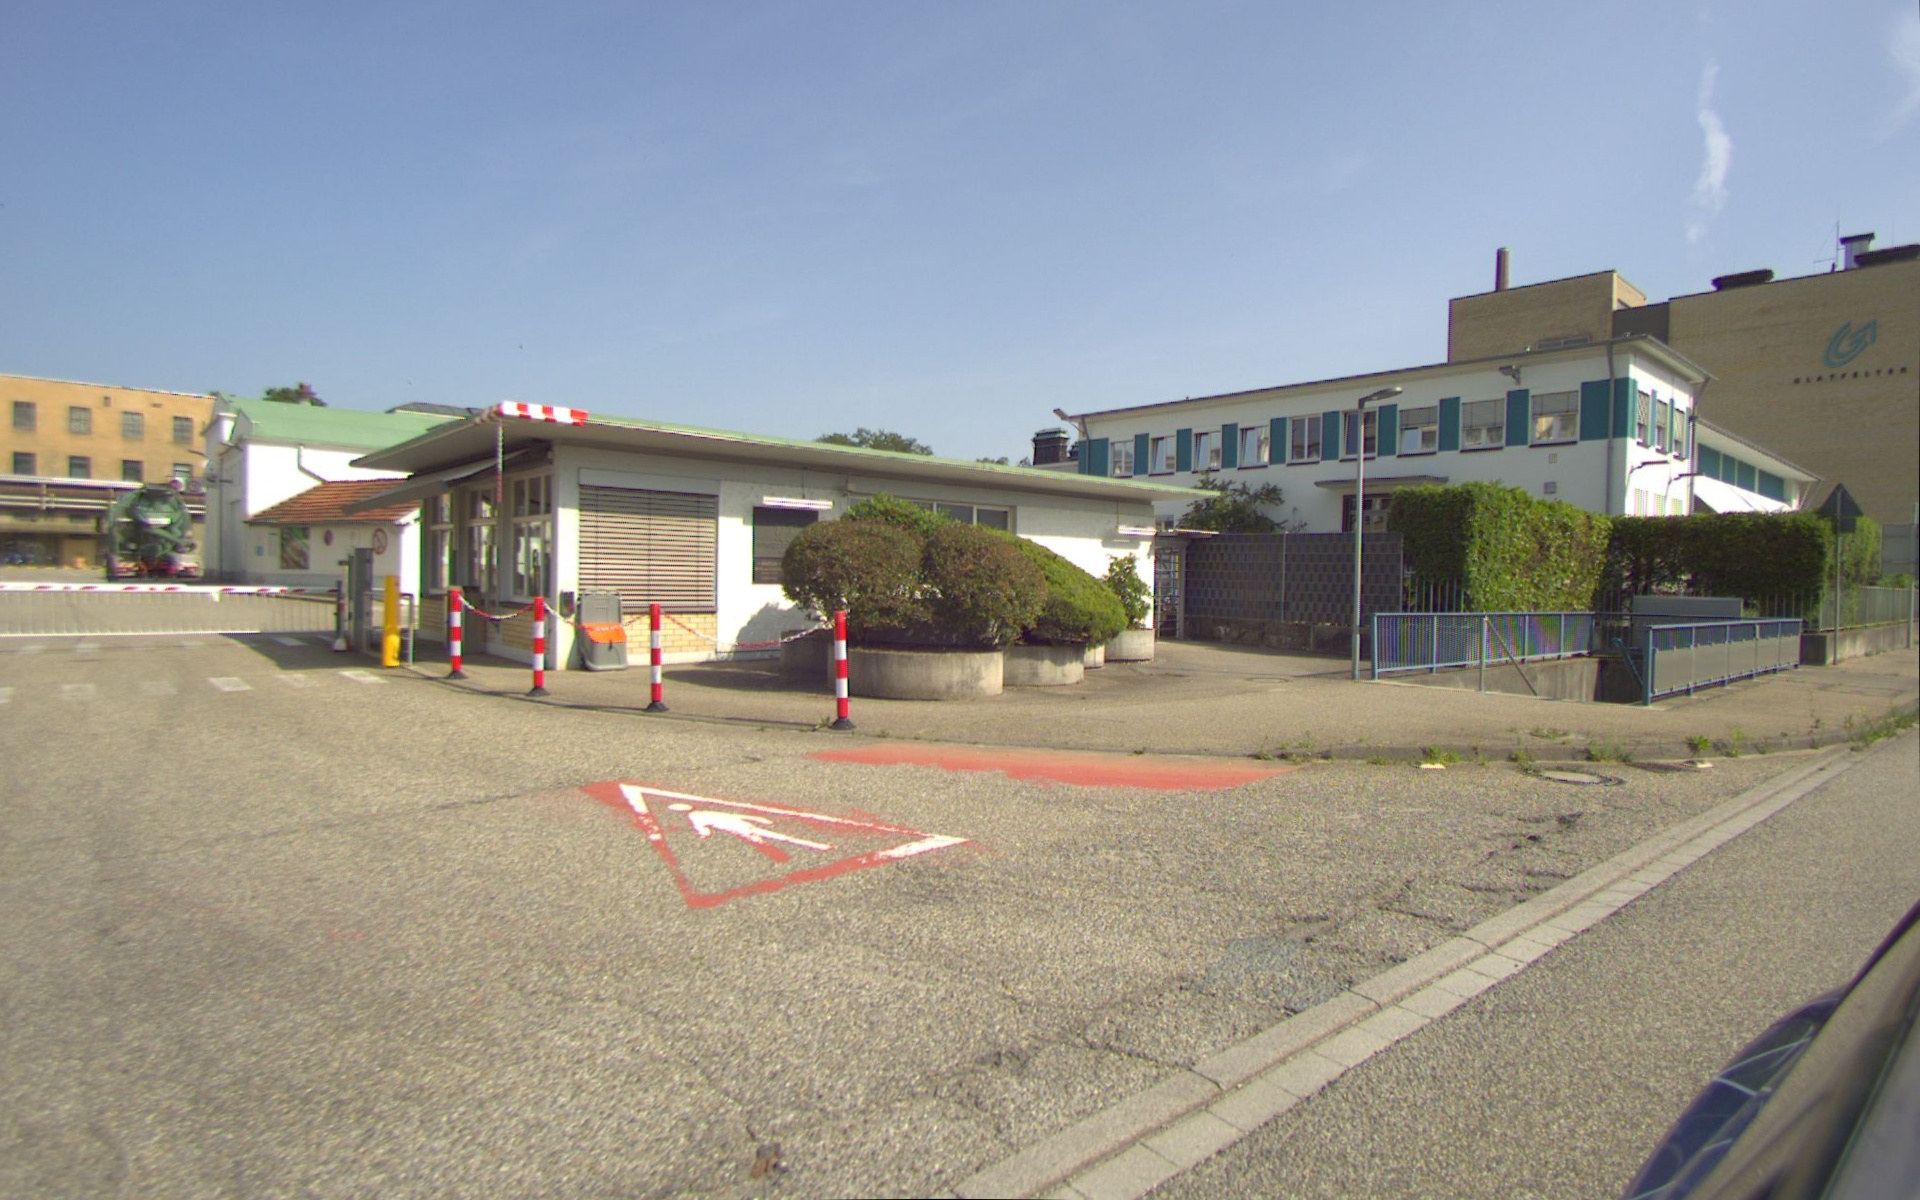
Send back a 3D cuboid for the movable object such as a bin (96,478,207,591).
[{"bbox_3d":[-31.136,-2.428,38.841,2.742,3.921,7.460,-2,3,-43],"label":"movable object such as a bin"}]
